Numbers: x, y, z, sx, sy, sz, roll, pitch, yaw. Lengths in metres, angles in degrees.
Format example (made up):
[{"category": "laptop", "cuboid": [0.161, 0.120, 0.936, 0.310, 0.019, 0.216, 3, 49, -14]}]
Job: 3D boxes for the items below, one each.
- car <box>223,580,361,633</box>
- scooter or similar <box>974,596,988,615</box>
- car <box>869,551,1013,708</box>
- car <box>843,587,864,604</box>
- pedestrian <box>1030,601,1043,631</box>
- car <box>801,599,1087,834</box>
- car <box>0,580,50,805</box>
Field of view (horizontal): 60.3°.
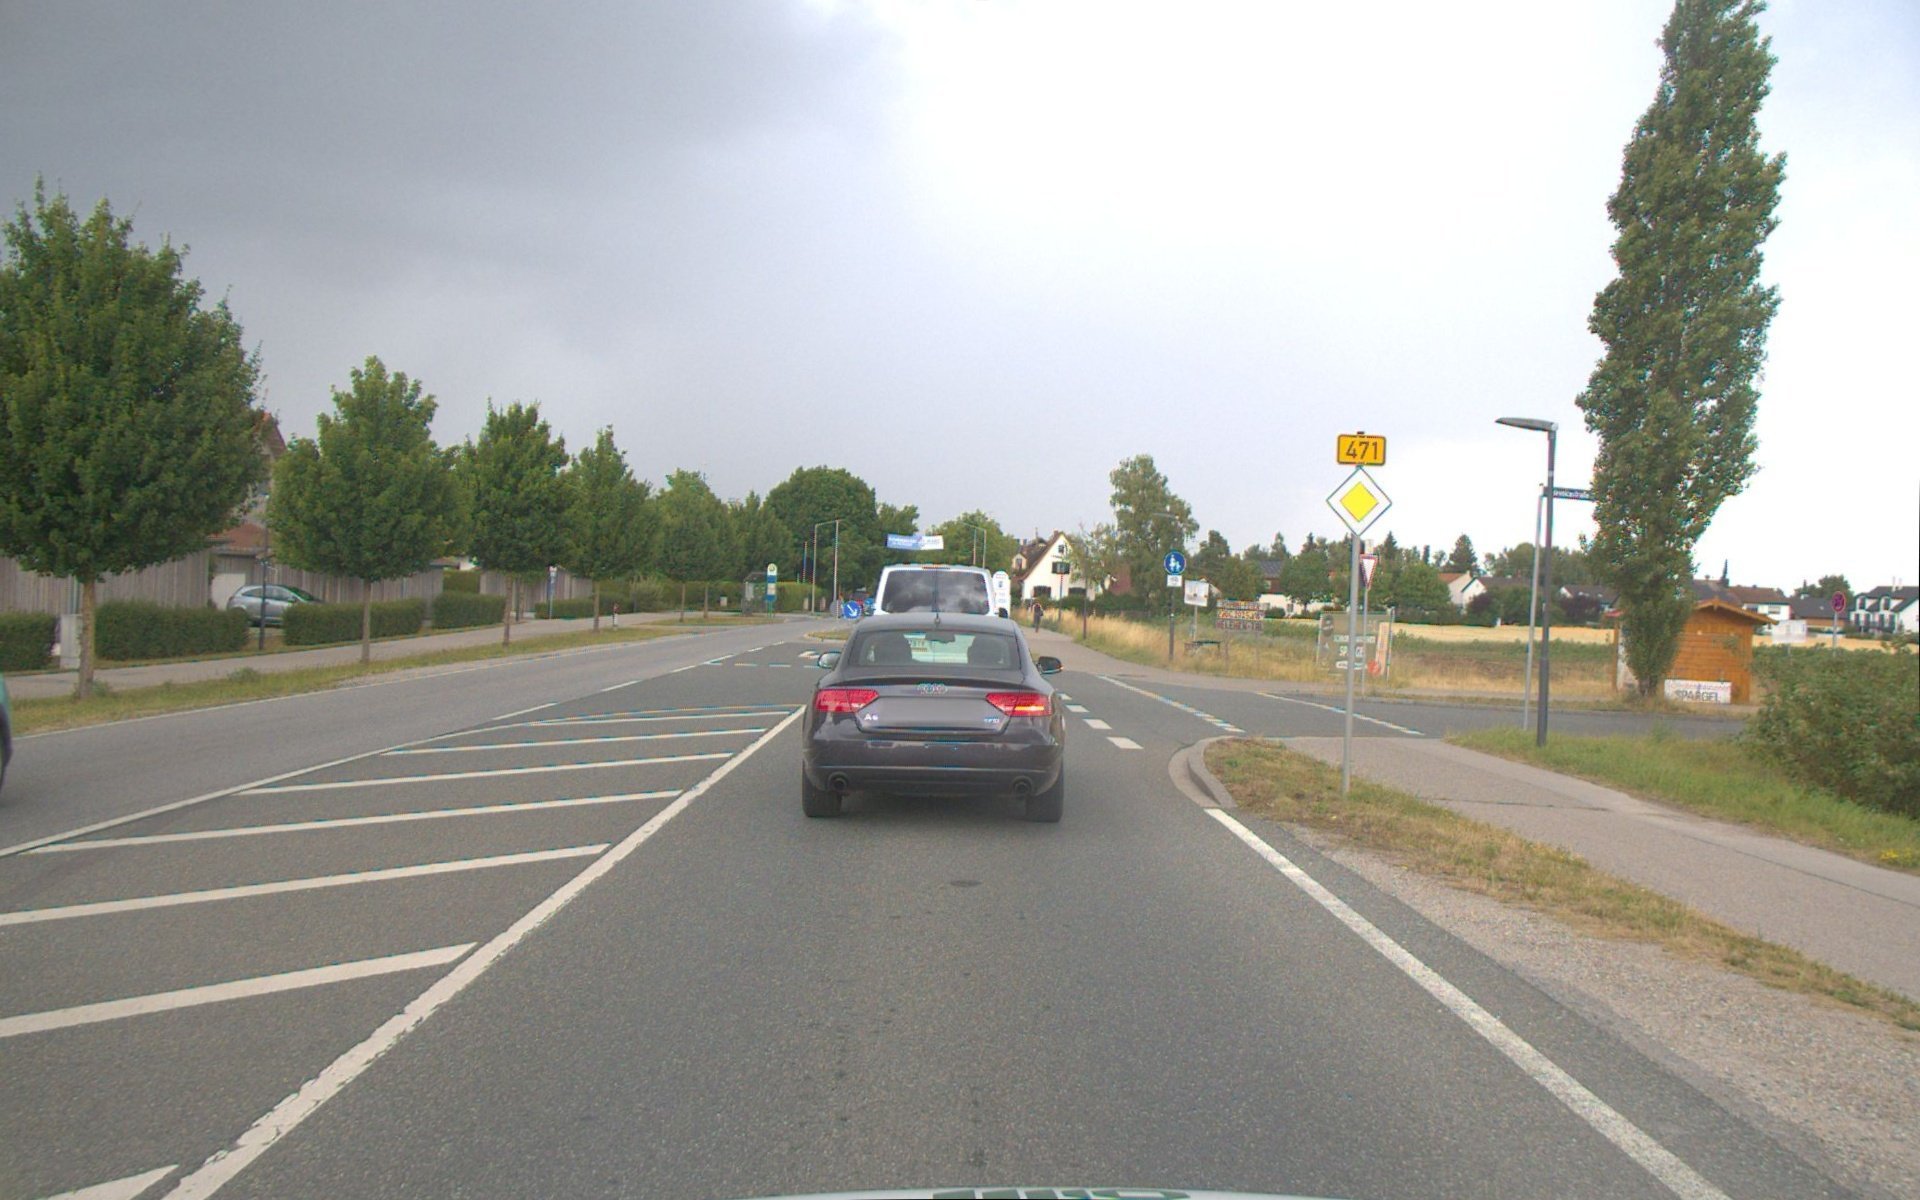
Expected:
[{"category": "car", "cuboid": [-23.299, 0.201, 57.780, 3.905, 1.583, 2.000, 3, 0, 0]}, {"category": "scooter or similar", "cuboid": [1.272, 0.337, 100.902, 0.831, 1.123, 1.094, 0, 0, -1]}, {"category": "car", "cuboid": [-0.325, 0.367, 23.531, 1.789, 1.946, 3.998, 3, 0, -2]}, {"category": "car", "cuboid": [-9.168, -0.428, 142.793, 1.620, 1.454, 3.601, 0, 0, -1]}, {"category": "pedestrian", "cuboid": [3.994, 0.832, 86.595, 0.611, 1.551, 0.679, 0, 0, -1]}, {"category": "car", "cuboid": [-0.284, 0.724, 12.547, 1.790, 1.413, 4.383, 0, 1, -5]}, {"category": "car", "cuboid": [-7.107, 0.606, 9.358, 1.734, 1.469, 3.999, 0, 0, -1]}]
